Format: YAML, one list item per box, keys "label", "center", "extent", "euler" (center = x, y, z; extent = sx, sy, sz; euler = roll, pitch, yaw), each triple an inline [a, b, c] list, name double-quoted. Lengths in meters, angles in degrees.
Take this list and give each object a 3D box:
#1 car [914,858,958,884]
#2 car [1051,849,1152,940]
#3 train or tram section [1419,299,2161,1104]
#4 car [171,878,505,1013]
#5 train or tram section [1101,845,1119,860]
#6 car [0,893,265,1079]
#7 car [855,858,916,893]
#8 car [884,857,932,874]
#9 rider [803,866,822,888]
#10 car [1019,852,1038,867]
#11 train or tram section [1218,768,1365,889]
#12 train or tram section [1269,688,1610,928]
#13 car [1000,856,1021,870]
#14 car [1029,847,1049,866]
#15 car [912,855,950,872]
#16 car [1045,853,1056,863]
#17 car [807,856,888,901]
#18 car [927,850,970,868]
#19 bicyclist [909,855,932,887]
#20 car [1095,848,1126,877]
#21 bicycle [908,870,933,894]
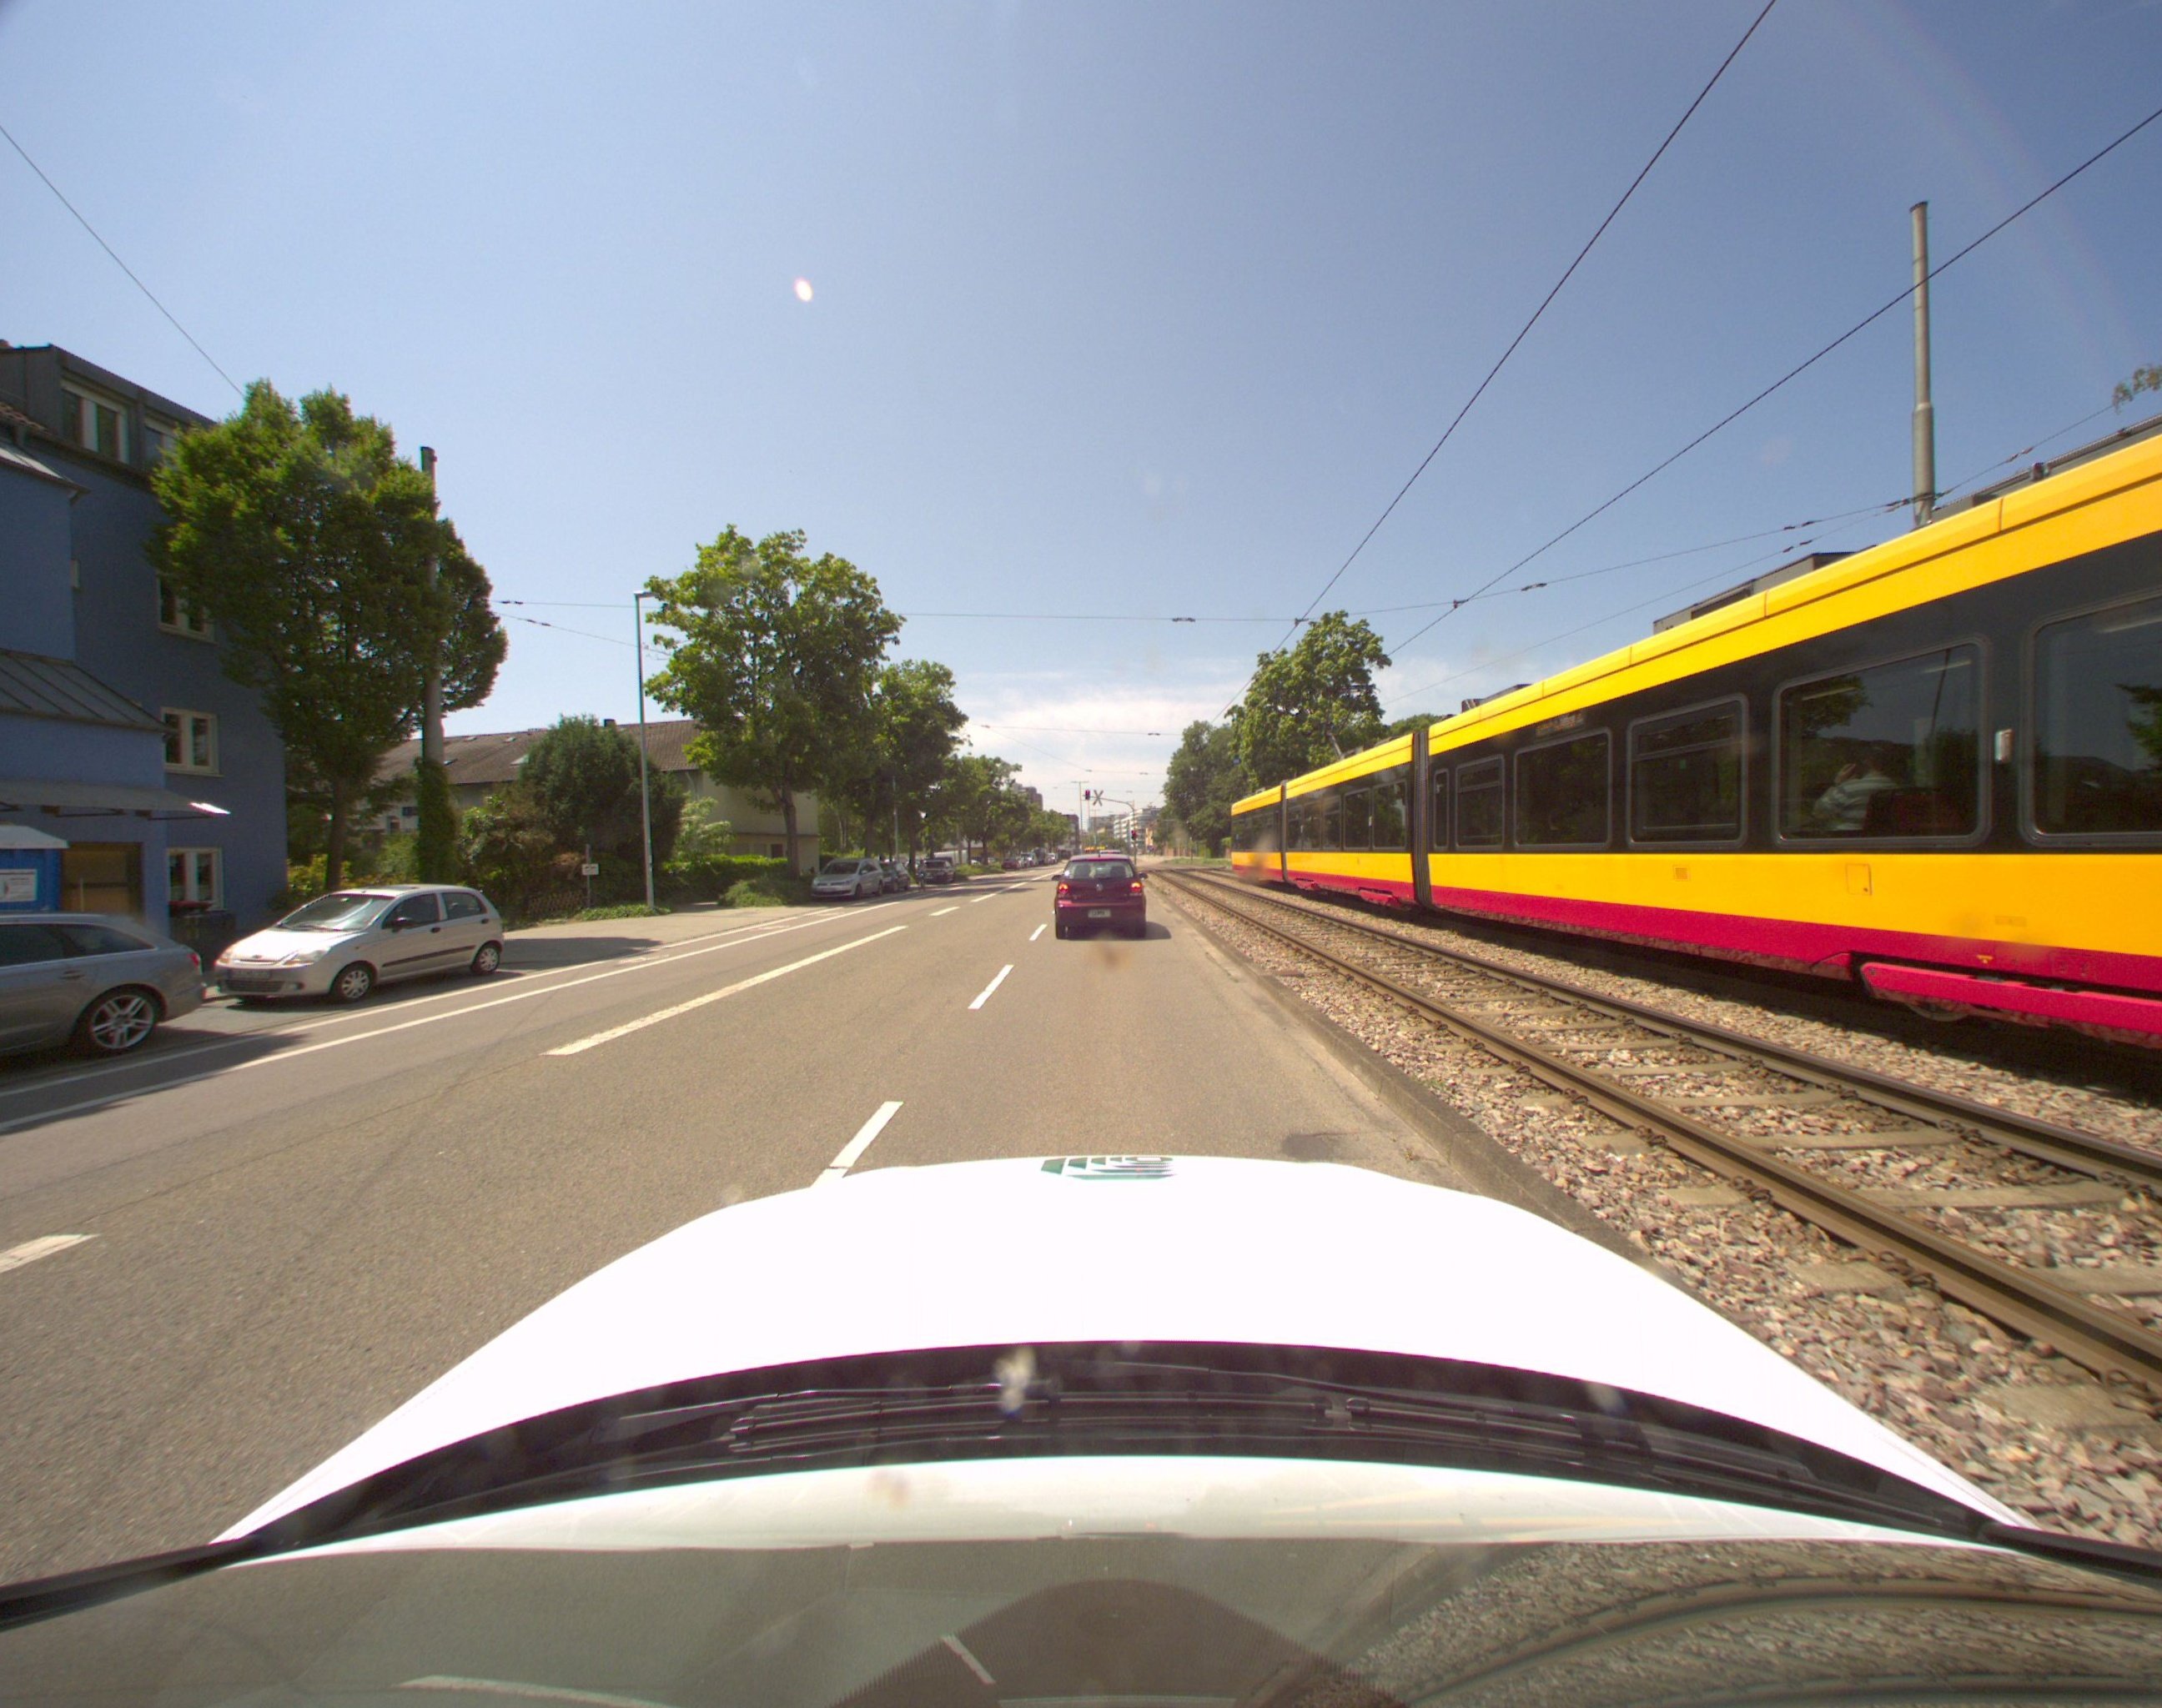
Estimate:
- label: "car"
  center: [-9.032, 1.045, 51.007]
  extent: [1.812, 1.476, 4.450]
  euler: [-1, 0, 1]
- label: "car"
  center: [0.380, 0.675, 15.705]
  extent: [1.666, 1.521, 4.001]
  euler: [-1, 0, 1]
- label: "train or tram section"
  center: [6.786, -0.765, 6.781]
  extent: [3.016, 3.797, 13.100]
  euler: [-2, 0, 3]
- label: "car"
  center: [-10.505, 1.199, 11.904]
  extent: [1.587, 1.495, 3.450]
  euler: [3, 0, 2]
- label: "train or tram section"
  center: [6.741, -0.353, 194.060]
  extent: [2.737, 3.609, 12.846]
  euler: [0, 0, -5]
- label: "car"
  center: [-10.451, 1.243, 6.921]
  extent: [1.781, 1.450, 5.133]
  euler: [2, 1, 0]
- label: "car"
  center: [-9.429, 0.985, 39.608]
  extent: [1.812, 1.564, 4.182]
  euler: [-1, 0, 1]
- label: "car"
  center: [-17.898, 1.186, 84.315]
  extent: [4.320, 1.585, 1.917]
  euler: [-3, 0, 7]
- label: "rider"
  center: [-17.138, 1.456, 52.039]
  extent: [0.820, 1.374, 0.814]
  euler: [-3, 0, 10]
- label: "car"
  center: [-6.811, 0.713, 105.536]
  extent: [1.775, 1.881, 4.791]
  euler: [0, -1, 4]
- label: "train or tram section"
  center: [7.845, -0.846, 32.581]
  extent: [3.016, 3.797, 12.769]
  euler: [-2, 0, 3]
- label: "train or tram section"
  center: [7.344, -0.775, 19.829]
  extent: [3.016, 3.797, 13.099]
  euler: [-2, 0, 3]
- label: "car"
  center: [-7.630, 0.969, 88.752]
  extent: [1.655, 1.497, 4.003]
  euler: [0, -1, 3]
- label: "car"
  center: [-6.108, 0.372, 118.575]
  extent: [2.352, 2.692, 5.311]
  euler: [0, -1, 3]
- label: "car"
  center: [-17.502, 1.102, 95.059]
  extent: [3.974, 1.746, 1.998]
  euler: [-3, 0, 0]
- label: "car"
  center: [-5.368, 0.710, 141.853]
  extent: [1.771, 1.828, 3.995]
  euler: [0, -1, -3]
- label: "car"
  center: [-9.633, 0.952, 34.000]
  extent: [1.866, 1.664, 4.782]
  euler: [-2, 0, 1]
- label: "car"
  center: [-17.150, 0.631, 105.688]
  extent: [5.076, 2.244, 2.380]
  euler: [0, -1, 2]
- label: "bicyclist"
  center: [-7.617, 0.818, 38.691]
  extent: [0.733, 1.431, 1.124]
  euler: [-5, 0, -2]
- label: "car"
  center: [1.739, 0.490, 48.780]
  extent: [1.771, 1.647, 4.001]
  euler: [-1, 0, 1]
- label: "bicycle"
  center: [-7.595, 1.320, 38.671]
  extent: [0.700, 0.951, 2.242]
  euler: [-5, 1, -1]
